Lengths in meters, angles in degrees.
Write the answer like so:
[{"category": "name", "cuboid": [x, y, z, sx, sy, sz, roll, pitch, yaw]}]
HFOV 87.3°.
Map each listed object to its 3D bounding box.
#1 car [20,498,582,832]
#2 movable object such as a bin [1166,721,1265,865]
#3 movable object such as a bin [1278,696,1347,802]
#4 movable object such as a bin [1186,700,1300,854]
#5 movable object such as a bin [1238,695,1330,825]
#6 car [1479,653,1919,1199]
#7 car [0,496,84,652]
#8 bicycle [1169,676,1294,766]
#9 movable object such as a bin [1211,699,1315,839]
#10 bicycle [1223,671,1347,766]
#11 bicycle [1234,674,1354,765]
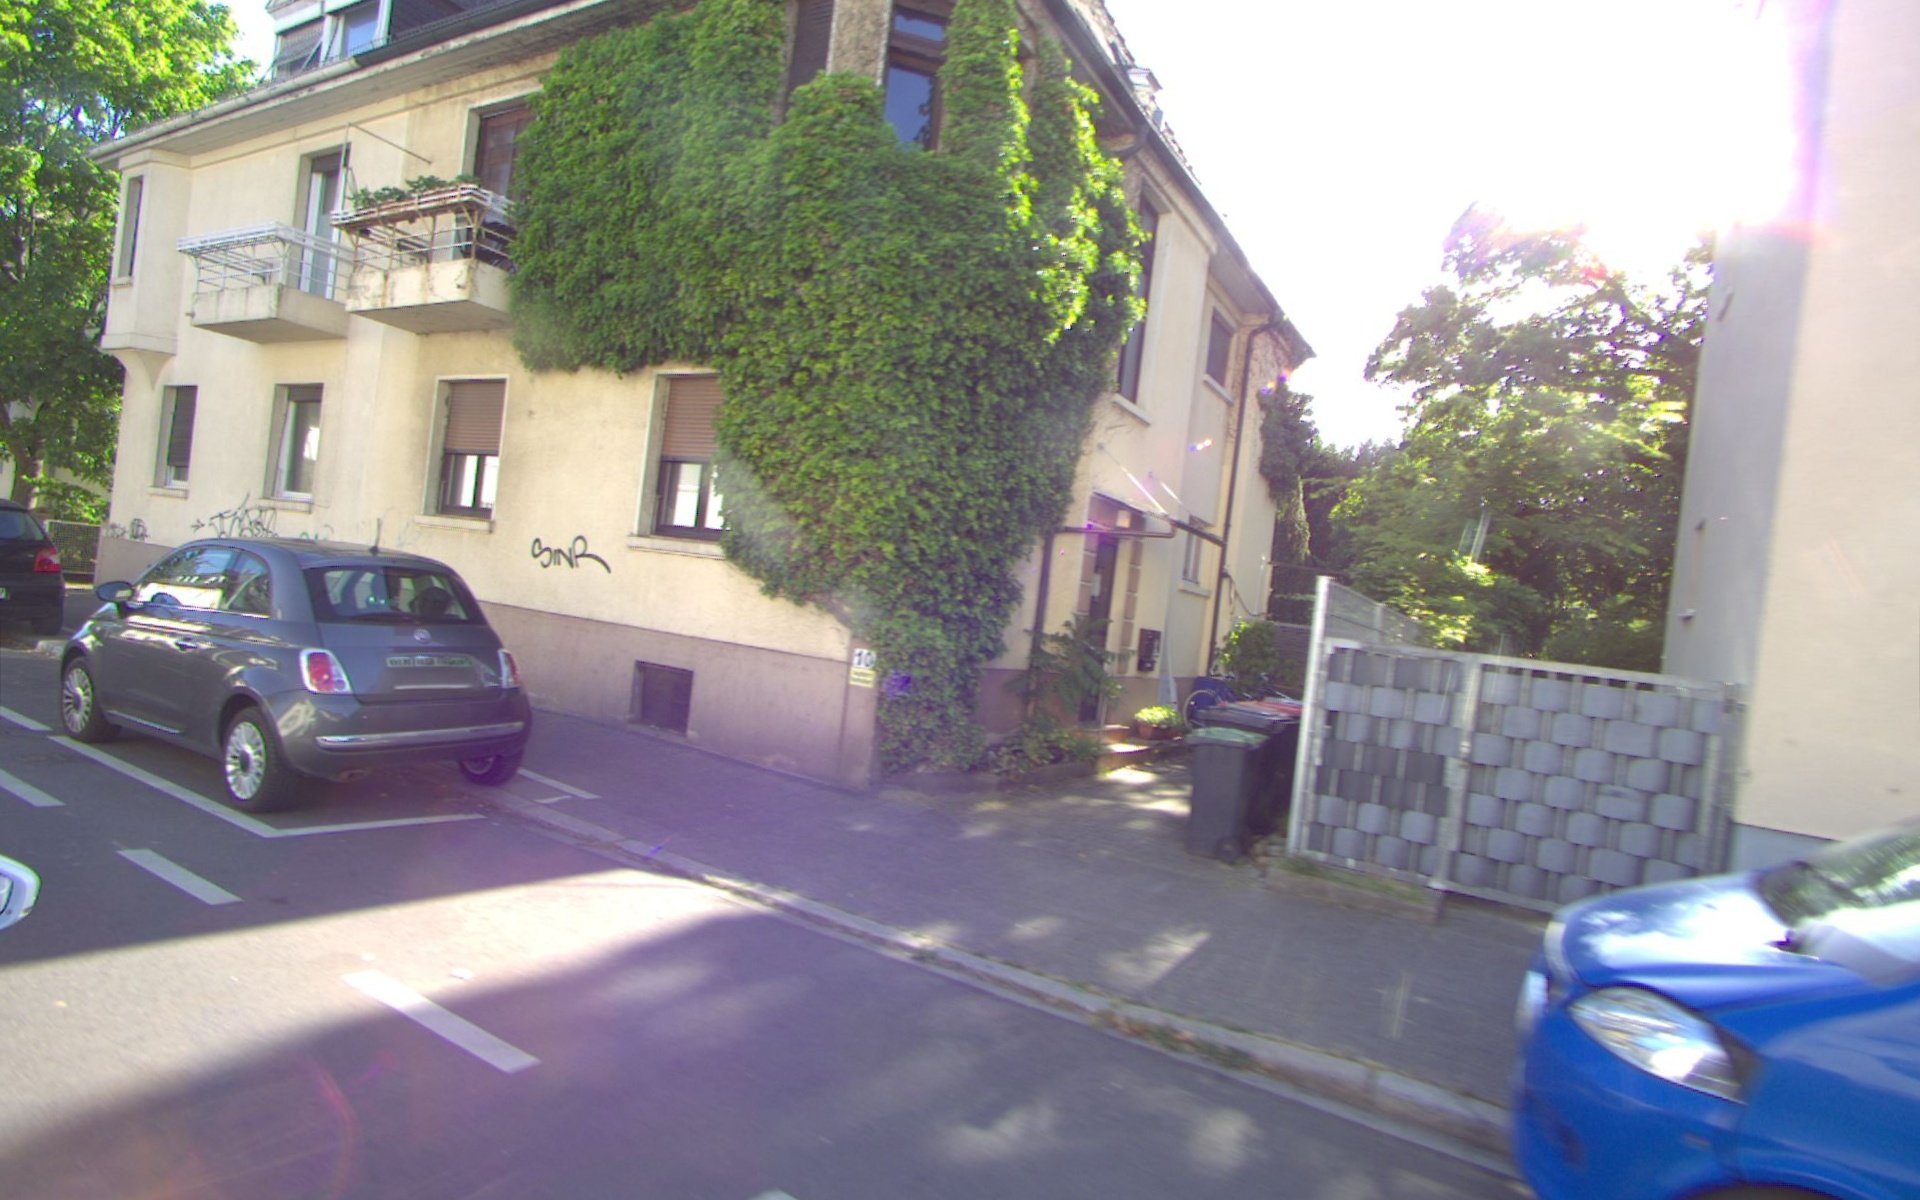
[{"category": "car", "cuboid": [-4.466, 0.327, 6.747, 3.489, 1.543, 1.605, 7, -2, 30]}, {"category": "movable object such as a bin", "cuboid": [1.891, 1.400, 7.425, 0.506, 0.927, 0.494, 7, 1, 29]}, {"category": "movable object such as a bin", "cuboid": [3.833, 1.597, 10.928, 0.522, 1.037, 0.538, 7, 1, 29]}, {"category": "movable object such as a bin", "cuboid": [2.272, 1.384, 8.048, 0.628, 1.070, 0.673, 7, 0, 29]}, {"category": "movable object such as a bin", "cuboid": [3.089, 1.496, 9.572, 0.586, 1.088, 0.734, 7, 0, 29]}, {"category": "car", "cuboid": [3.105, 1.179, 2.309, 3.238, 1.617, 1.461, 7, -2, 30]}, {"category": "car", "cuboid": [-11.469, -0.450, 11.219, 3.712, 1.583, 1.666, 6, -1, 36]}, {"category": "bicycle", "cuboid": [3.779, 1.662, 14.032, 1.520, 1.007, 0.456, 7, 0, 32]}, {"category": "movable object such as a bin", "cuboid": [2.685, 1.456, 8.875, 0.628, 1.070, 0.756, 7, 0, 29]}, {"category": "bicycle", "cuboid": [4.624, 1.667, 14.350, 1.520, 1.097, 0.456, 7, 0, 32]}, {"category": "bicycle", "cuboid": [4.936, 1.757, 14.925, 1.520, 1.097, 0.456, 7, 0, 32]}]
